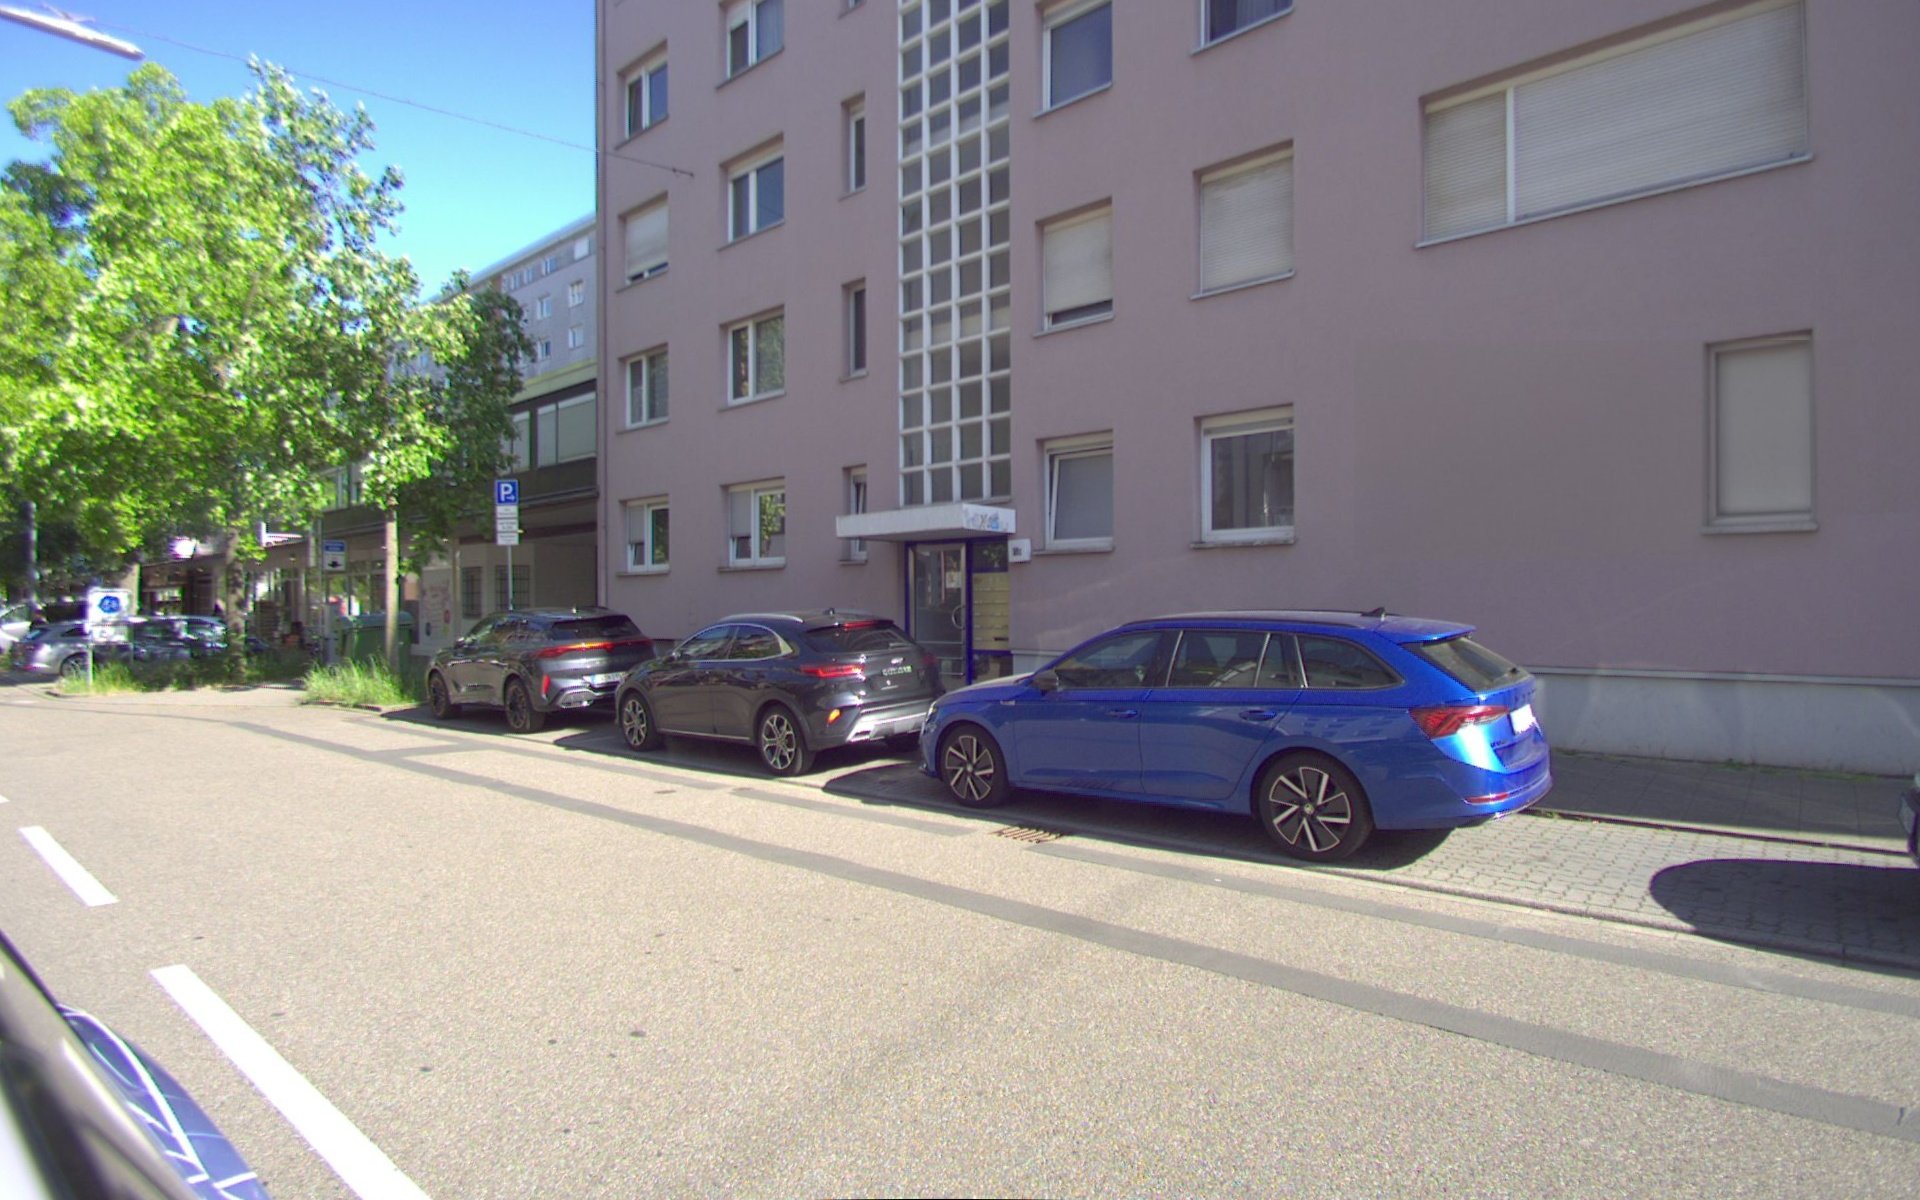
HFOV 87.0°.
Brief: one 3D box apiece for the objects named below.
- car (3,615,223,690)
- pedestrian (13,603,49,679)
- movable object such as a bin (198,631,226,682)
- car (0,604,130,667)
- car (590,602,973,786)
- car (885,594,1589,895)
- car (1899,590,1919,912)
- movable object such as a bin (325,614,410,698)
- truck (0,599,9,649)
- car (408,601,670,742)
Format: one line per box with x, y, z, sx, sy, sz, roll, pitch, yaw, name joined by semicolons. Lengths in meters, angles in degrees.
-20.971;1.232;25.166;1.999;1.687;3.945;-1;-1;41;car
-25.403;1.113;27.680;0.556;2.029;0.756;0;-1;-30;pedestrian
-18.488;1.387;25.021;0.409;1.234;0.482;-1;-1;41;movable object such as a bin
-31.284;1.175;34.823;1.999;2.047;3.945;-1;-1;41;car
-2.055;0.844;10.806;4.245;1.519;1.798;-1;1;43;car
1.706;0.776;7.328;4.610;1.476;1.700;-1;1;41;car
6.320;0.670;3.196;4.812;1.476;1.700;-1;1;41;car
-11.575;1.068;19.772;1.230;1.557;1.019;0;-1;-44;movable object such as a bin
-52.330;1.255;51.595;1.993;2.615;5.266;-1;-1;31;truck
-6.052;0.897;14.330;4.141;1.604;1.798;-1;2;43;car
